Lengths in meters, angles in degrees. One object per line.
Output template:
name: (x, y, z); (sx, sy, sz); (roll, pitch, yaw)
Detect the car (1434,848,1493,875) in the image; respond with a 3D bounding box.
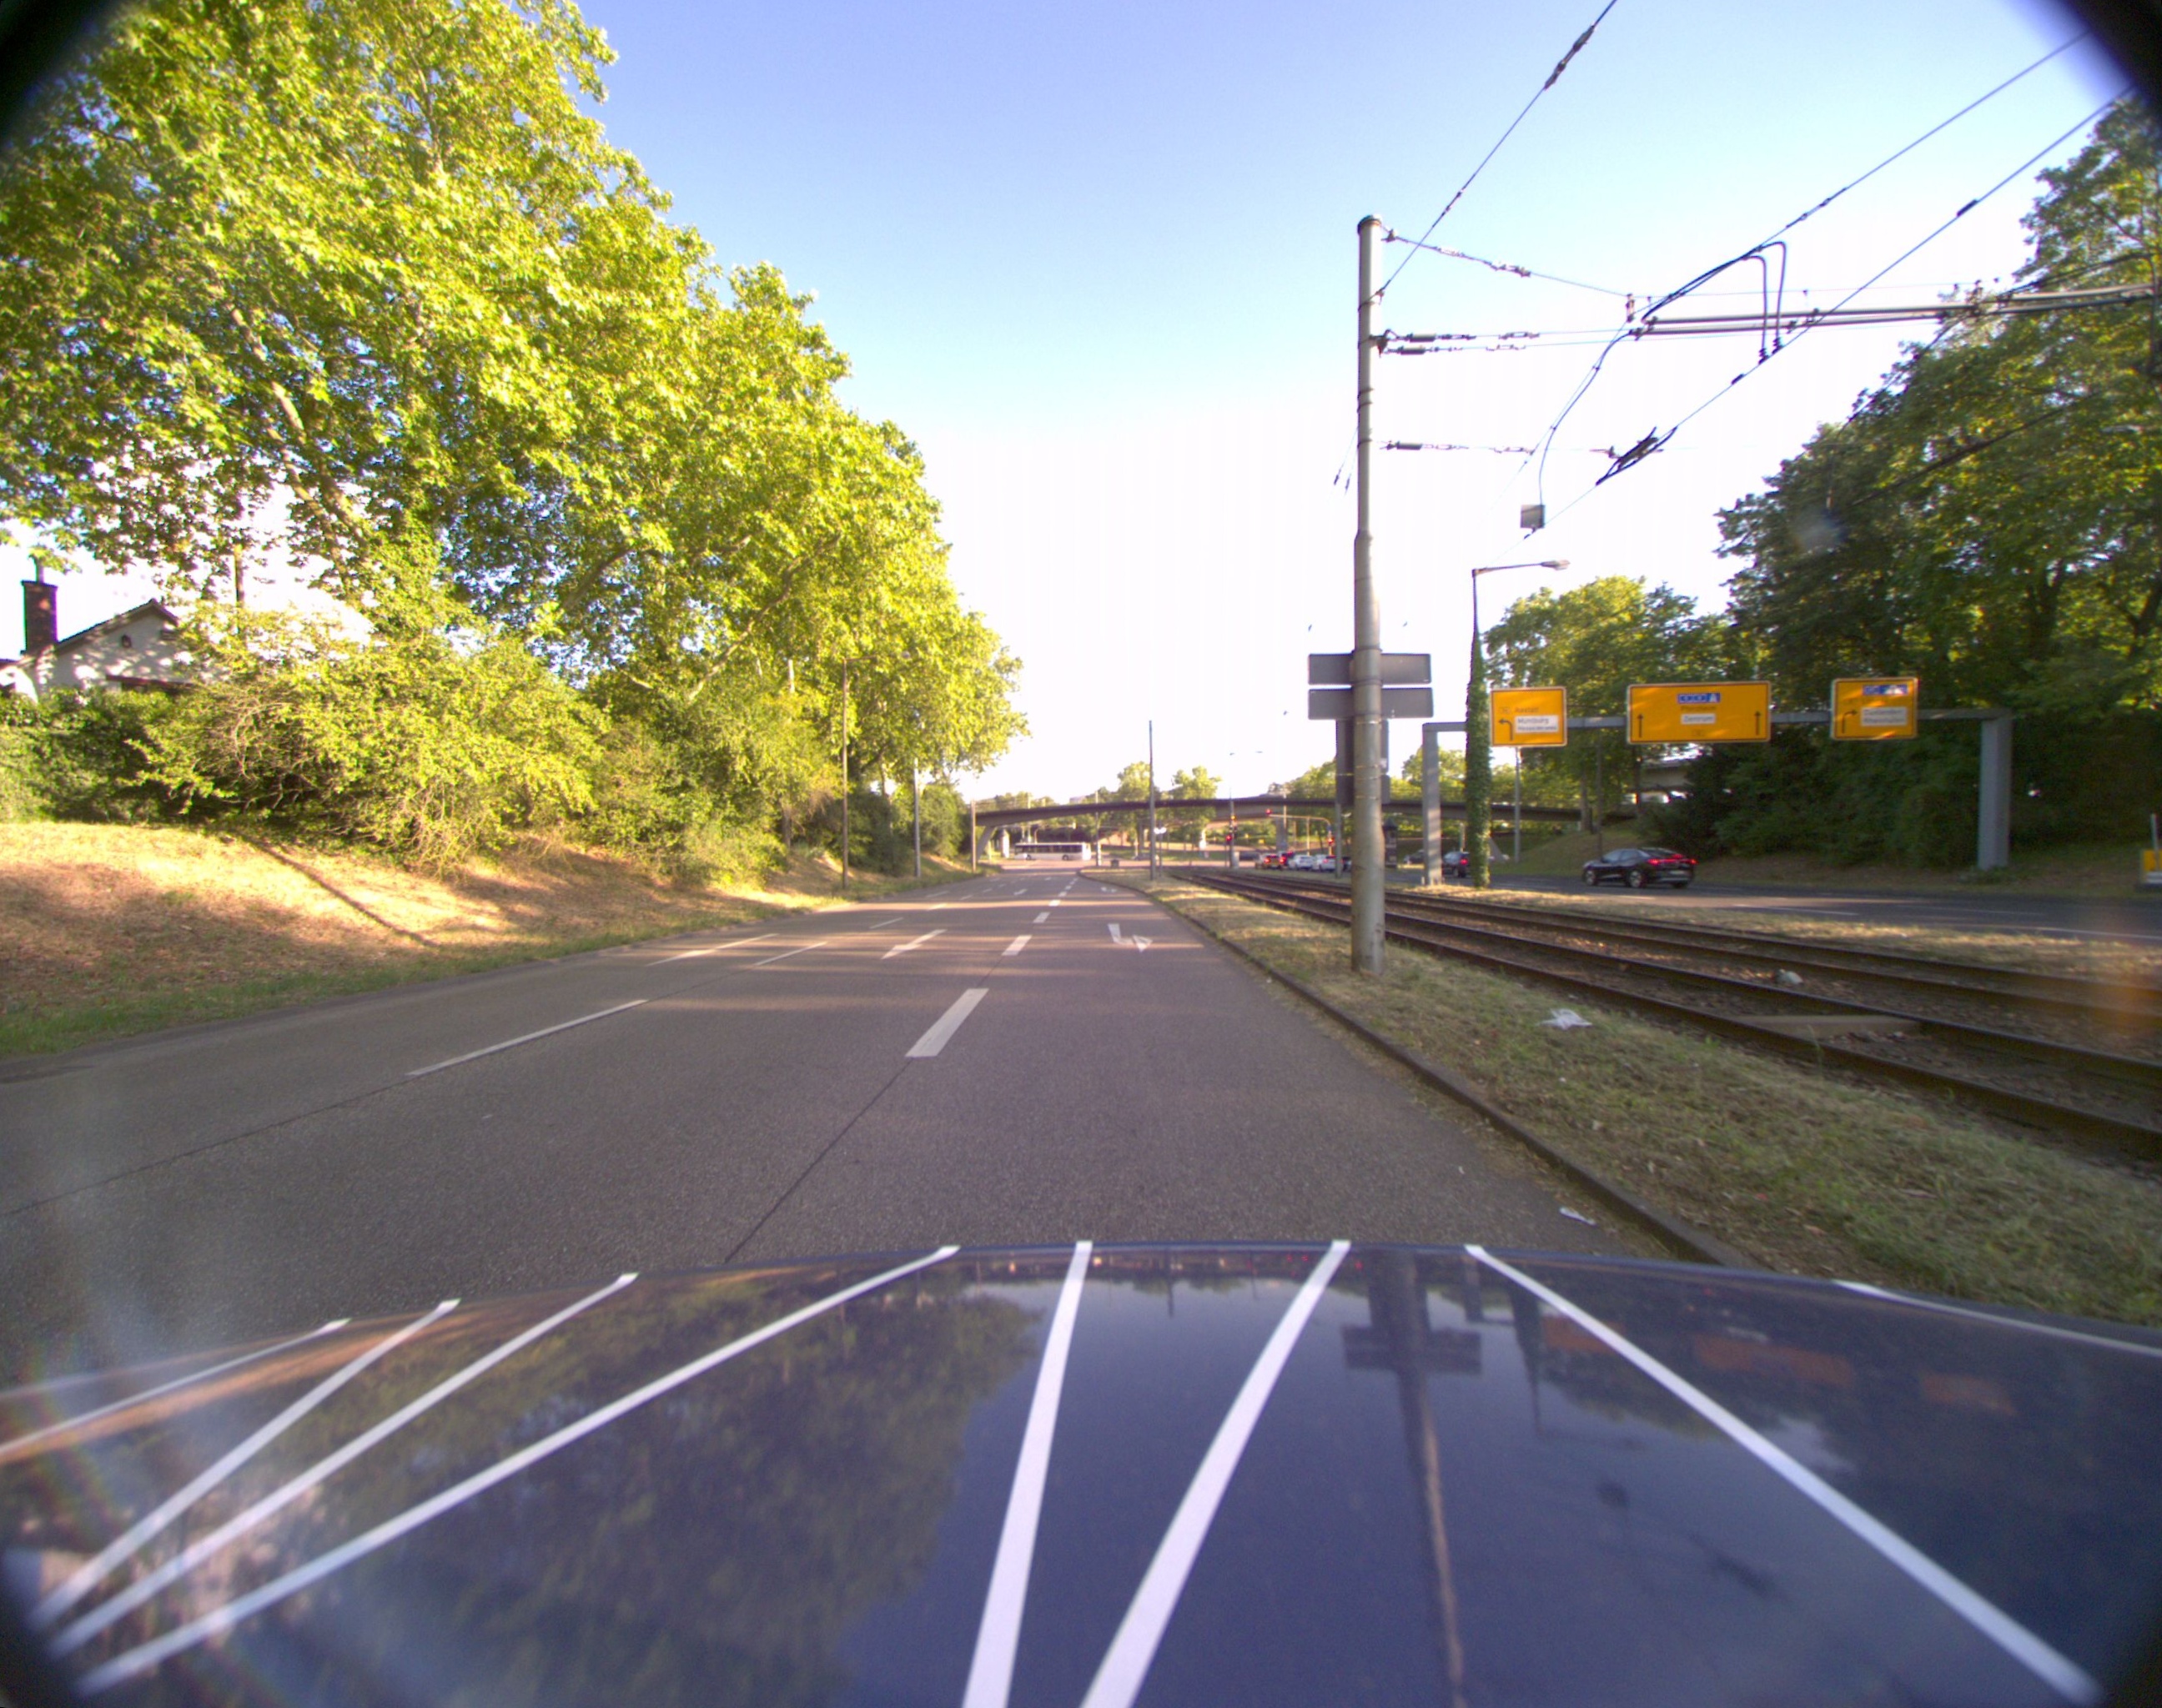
car: (22.800, 0.448, 45.410); (1.755, 1.548, 3.974); (0, 0, 4)

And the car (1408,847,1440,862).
car: (46.711, 0.093, 103.444); (3.805, 1.848, 1.679); (-2, 1, 20)

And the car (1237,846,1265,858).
car: (25.989, -0.296, 116.343); (3.868, 1.655, 1.814); (-2, 1, 21)

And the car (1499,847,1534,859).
car: (59.235, -0.097, 103.414); (3.785, 1.491, 1.766); (-2, 1, 18)

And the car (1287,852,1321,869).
car: (19.915, 0.555, 68.079); (1.918, 1.416, 4.227); (-1, 0, 2)

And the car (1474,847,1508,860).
car: (54.443, -0.011, 100.981); (3.804, 1.570, 1.679); (-2, 1, 24)

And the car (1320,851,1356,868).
car: (23.737, 0.482, 70.204); (1.868, 1.416, 4.226); (-1, 0, 0)

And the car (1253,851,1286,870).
car: (16.146, 0.503, 65.231); (1.767, 1.535, 4.000); (-1, 0, 0)

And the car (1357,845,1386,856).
car: (42.293, -0.543, 110.531); (3.868, 1.403, 1.814); (-2, 1, 20)

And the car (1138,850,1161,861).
car: (11.037, 0.227, 122.629); (3.364, 1.560, 1.613); (-2, 0, 17)

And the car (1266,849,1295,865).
car: (19.581, 0.261, 74.736); (1.917, 1.540, 4.227); (-1, 0, 4)

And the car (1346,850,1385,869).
car: (23.966, 0.418, 64.067); (1.813, 1.535, 4.000); (-1, 0, 1)

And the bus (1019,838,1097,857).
bus: (-3.938, -1.065, 128.282); (13.163, 2.846, 2.420); (-2, 1, 22)

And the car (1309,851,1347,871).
car: (20.026, 0.539, 61.800); (1.767, 1.535, 4.000); (-1, 0, 0)

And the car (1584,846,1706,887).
car: (22.449, 0.455, 30.496); (1.735, 1.536, 4.334); (-1, 0, 1)

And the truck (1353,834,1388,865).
truck: (28.382, -0.441, 74.794); (2.281, 2.862, 6.886); (-1, 0, 13)
